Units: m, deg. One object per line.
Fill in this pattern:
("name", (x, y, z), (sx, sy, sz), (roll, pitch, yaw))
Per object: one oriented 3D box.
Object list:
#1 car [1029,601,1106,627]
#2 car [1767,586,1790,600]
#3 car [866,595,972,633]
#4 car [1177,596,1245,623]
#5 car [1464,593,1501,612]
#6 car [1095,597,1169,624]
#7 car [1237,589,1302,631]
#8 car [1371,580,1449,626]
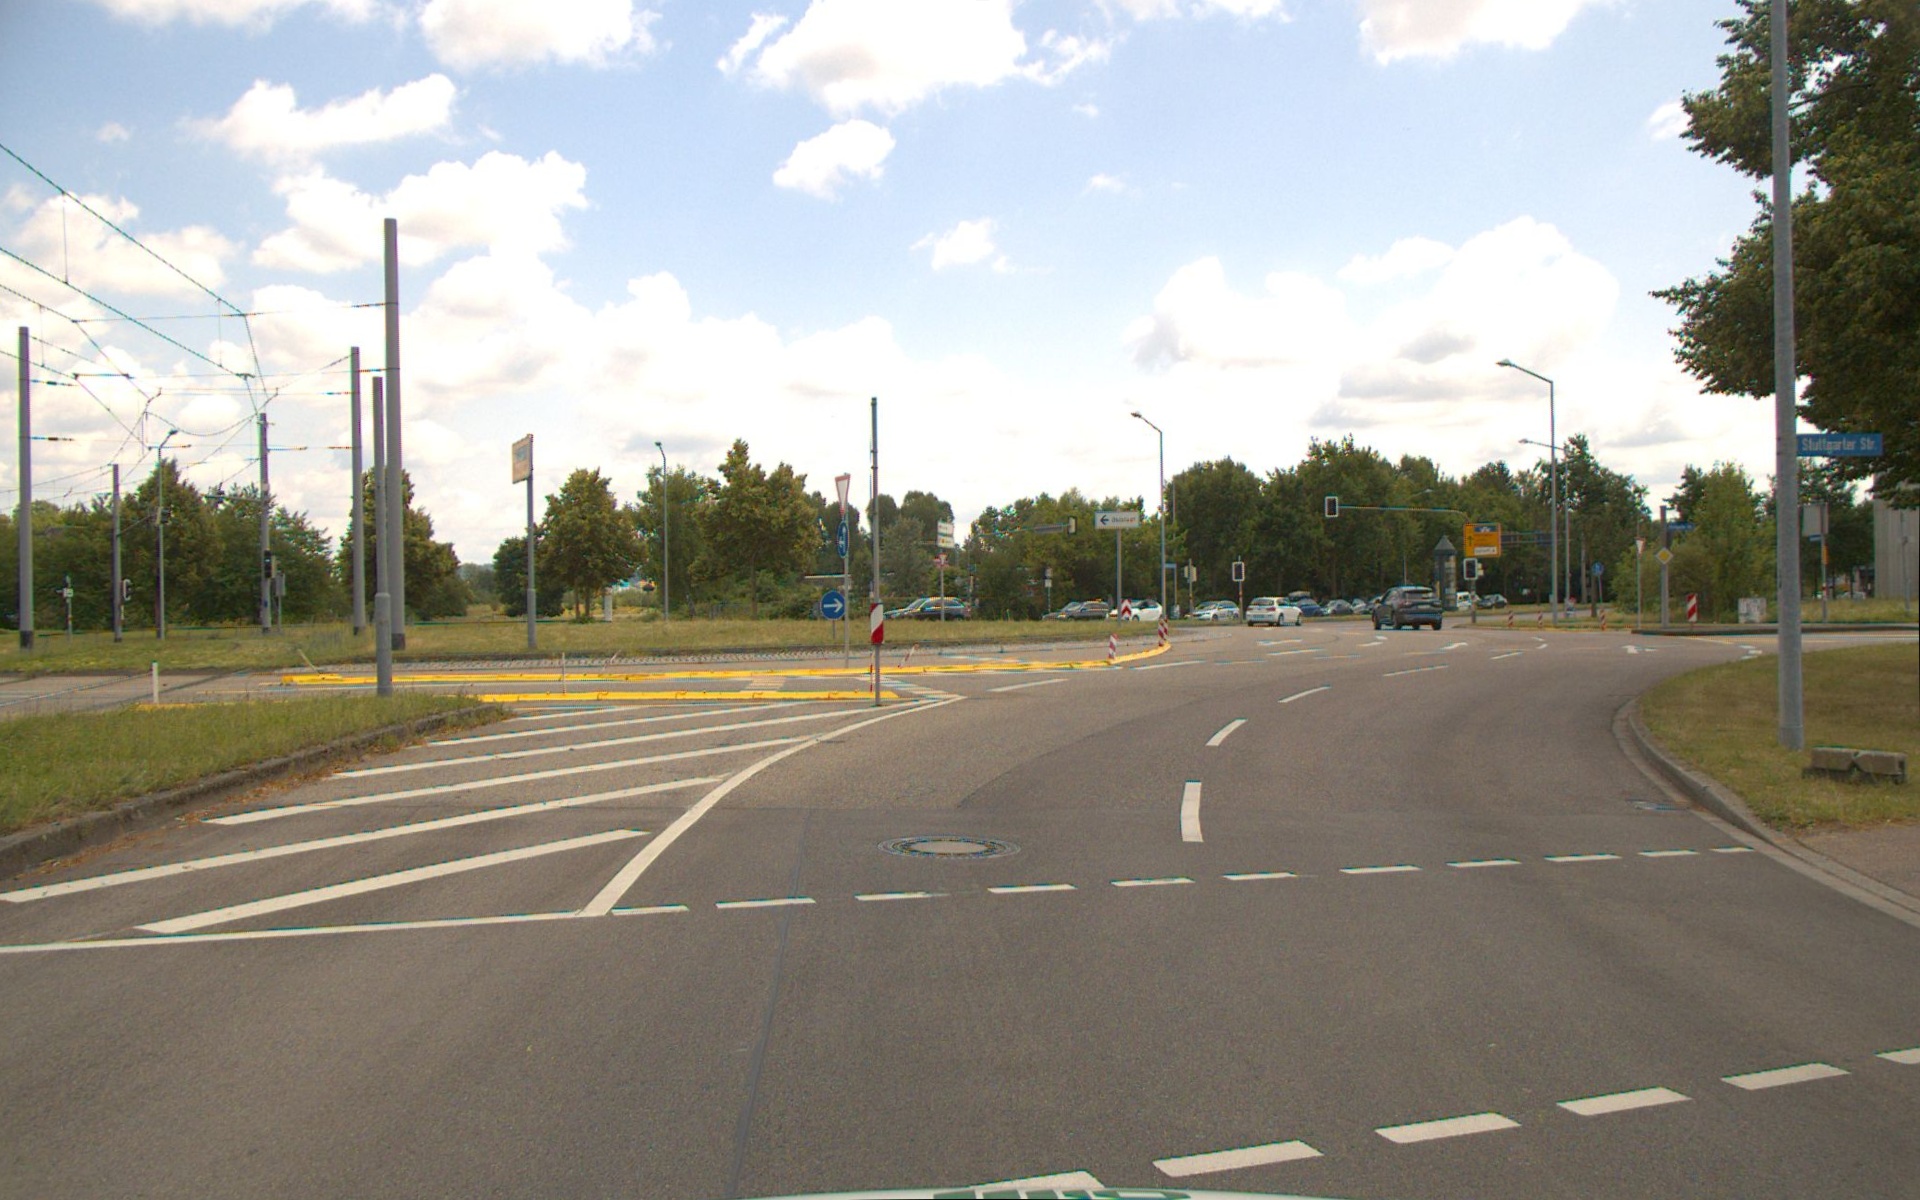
("car", (5.958, 0.749, 91.620), (1.919, 1.346, 4.464), (-1, 1, 42))
("car", (97.493, -0.841, 196.904), (1.809, 1.512, 3.851), (-1, 0, 37))
("car", (-1.990, 0.659, 80.768), (5.018, 1.704, 1.973), (-1, 0, -38))
("car", (15.361, 0.590, 101.067), (2.084, 1.548, 4.484), (-1, 1, 40))
("car", (44.227, 0.208, 140.052), (1.810, 1.512, 3.851), (1, 0, 37))
("car", (9.320, 0.566, 89.272), (1.962, 1.353, 4.291), (-1, 0, 39))
("car", (15.630, 0.478, 83.432), (1.957, 2.049, 3.991), (-1, 0, 31))
("car", (17.592, 0.128, 64.840), (1.952, 1.654, 4.310), (-2, 0, 1))
